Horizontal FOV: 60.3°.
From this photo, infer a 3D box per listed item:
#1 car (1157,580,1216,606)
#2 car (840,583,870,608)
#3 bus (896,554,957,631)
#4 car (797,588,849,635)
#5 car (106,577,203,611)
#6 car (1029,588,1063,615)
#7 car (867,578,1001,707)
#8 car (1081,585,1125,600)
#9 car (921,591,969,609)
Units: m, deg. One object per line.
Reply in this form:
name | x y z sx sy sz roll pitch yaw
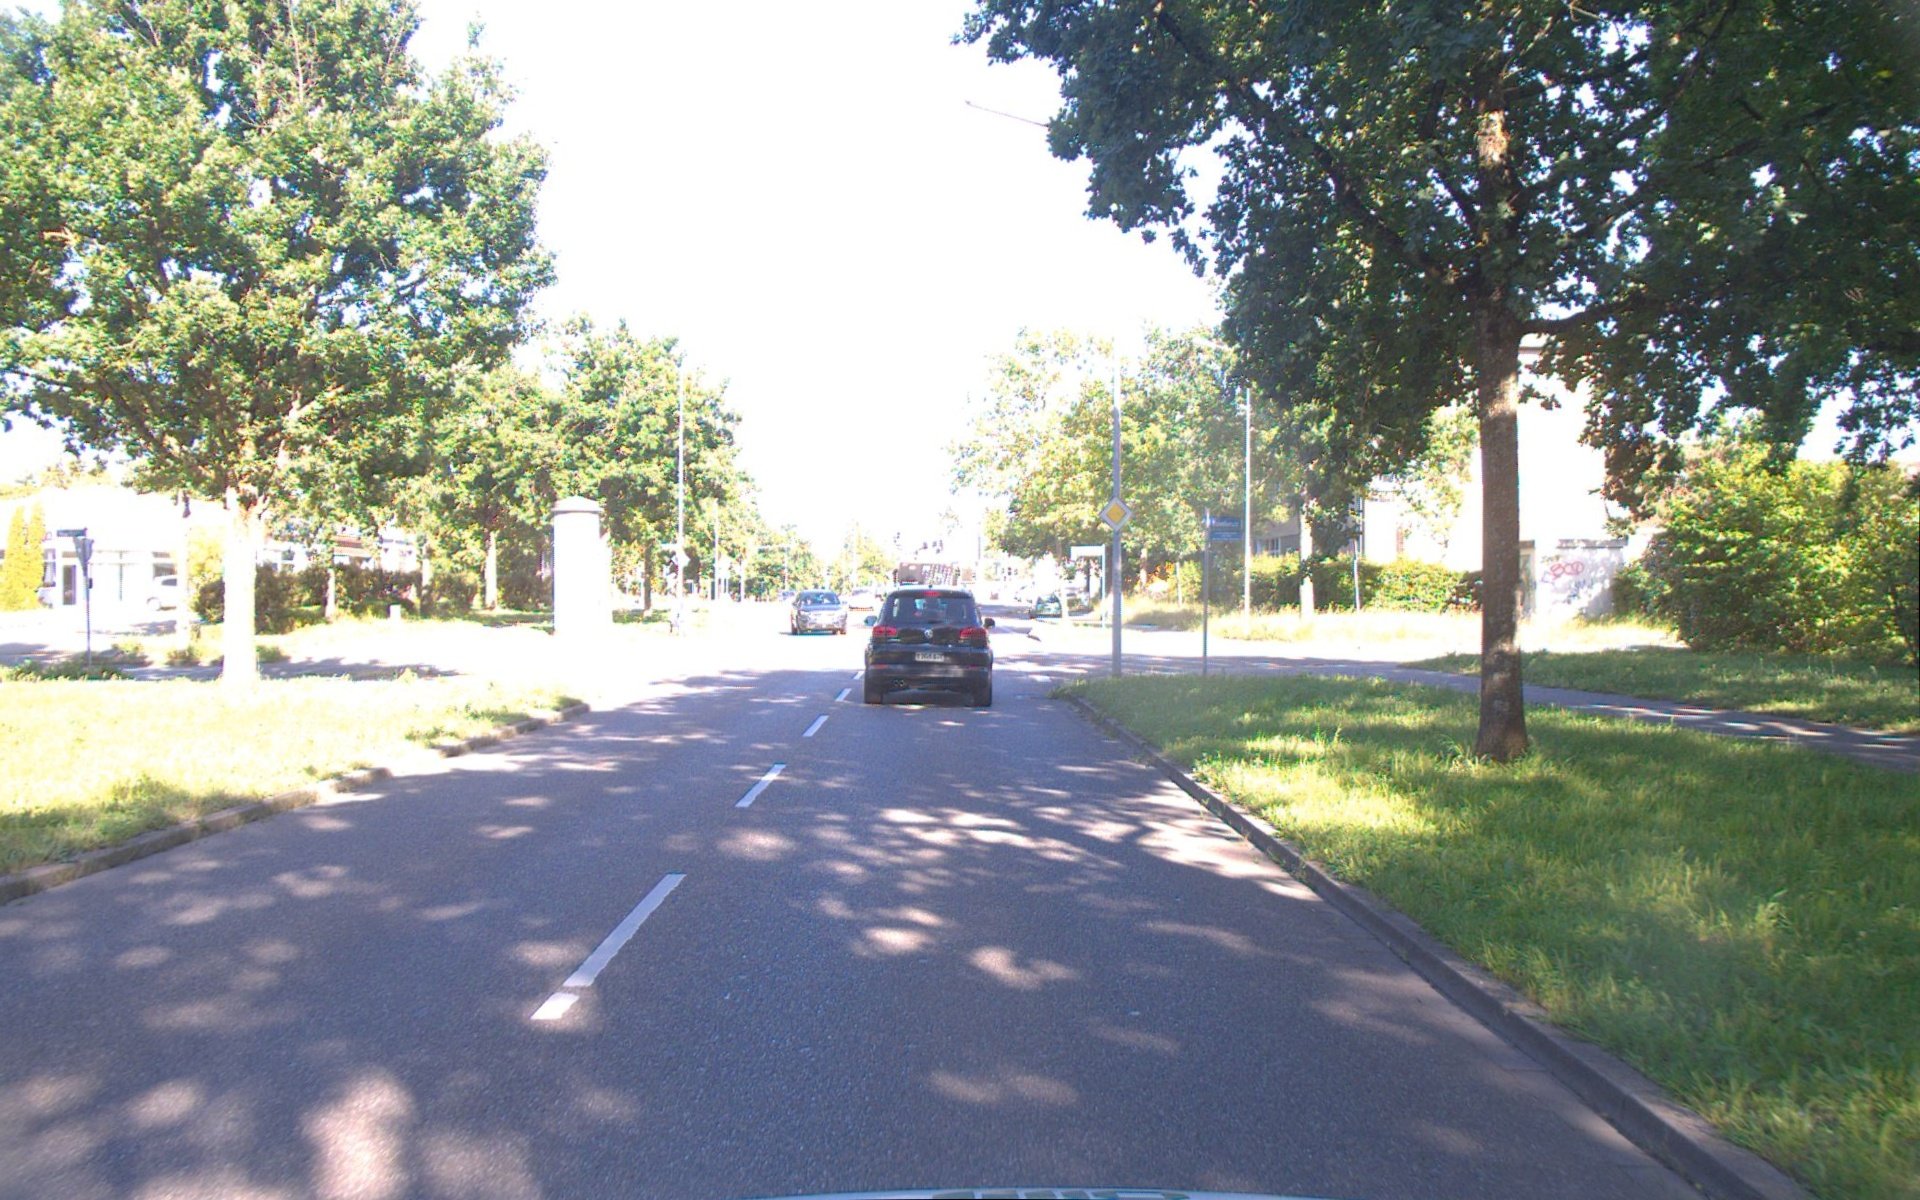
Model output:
car | 19.121 -0.572 139.967 4.612 2.160 1.939 0 0 -7
car | -7.167 -0.282 112.519 1.721 1.648 4.025 0 0 -9
bus | -1.729 -0.391 80.487 2.544 3.392 11.977 1 0 -3
car | -4.951 0.424 60.086 1.719 1.623 4.296 1 0 -3
car | -35.959 -0.254 73.899 3.529 1.524 1.590 0 0 -9
car | 4.897 0.064 94.653 1.560 1.453 4.202 -1 0 -2
car | -0.381 0.590 24.378 1.784 1.703 4.002 1 0 -1
car | 13.292 -0.703 153.769 3.823 1.363 1.678 1 -1 -12
car | -1.104 0.020 125.069 3.447 1.325 1.576 0 0 6
